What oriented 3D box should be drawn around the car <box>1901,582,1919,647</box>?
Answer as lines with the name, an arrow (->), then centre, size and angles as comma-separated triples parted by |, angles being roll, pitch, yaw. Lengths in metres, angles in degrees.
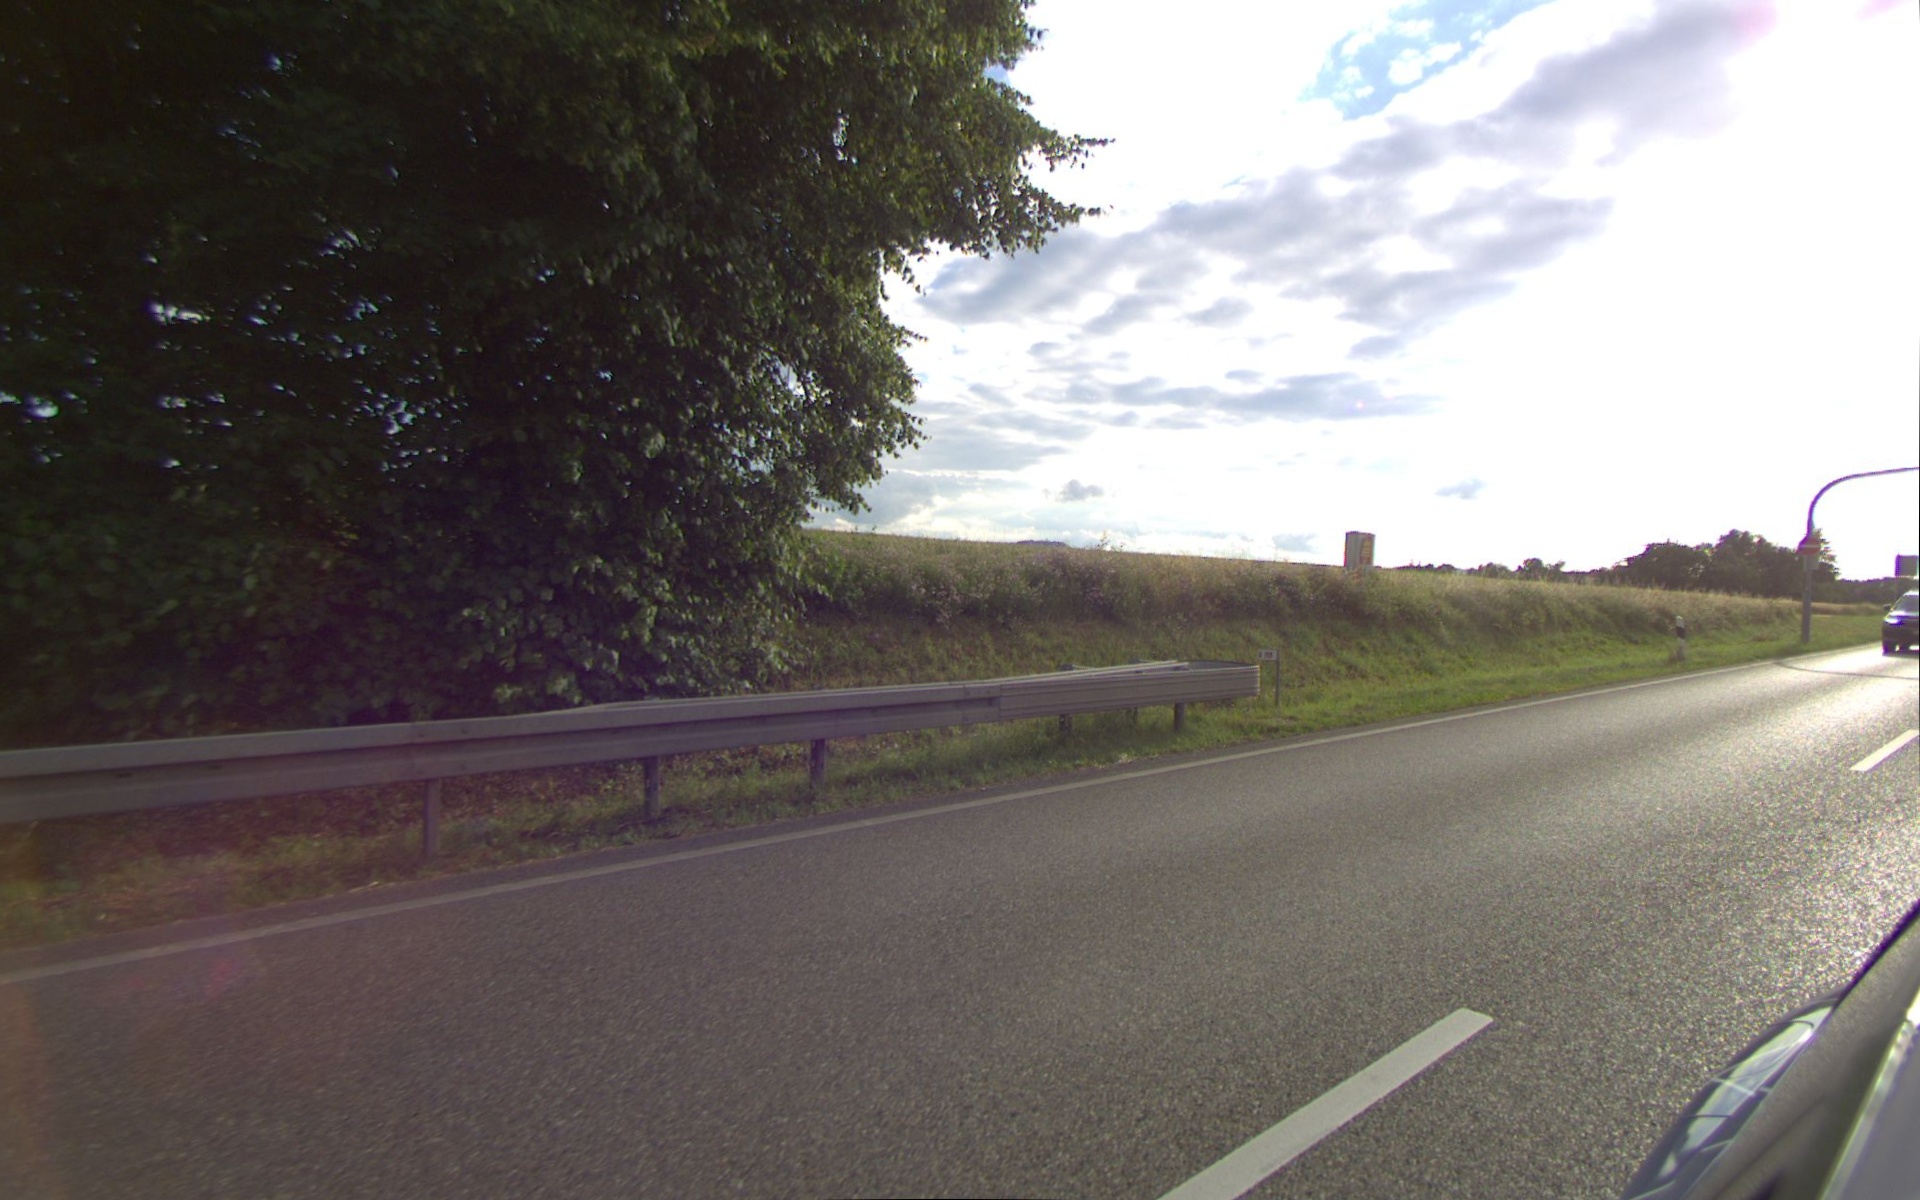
car -> 26.957, 0.397, 27.400 | 4.341, 1.689, 1.722 | 0, 0, -41
